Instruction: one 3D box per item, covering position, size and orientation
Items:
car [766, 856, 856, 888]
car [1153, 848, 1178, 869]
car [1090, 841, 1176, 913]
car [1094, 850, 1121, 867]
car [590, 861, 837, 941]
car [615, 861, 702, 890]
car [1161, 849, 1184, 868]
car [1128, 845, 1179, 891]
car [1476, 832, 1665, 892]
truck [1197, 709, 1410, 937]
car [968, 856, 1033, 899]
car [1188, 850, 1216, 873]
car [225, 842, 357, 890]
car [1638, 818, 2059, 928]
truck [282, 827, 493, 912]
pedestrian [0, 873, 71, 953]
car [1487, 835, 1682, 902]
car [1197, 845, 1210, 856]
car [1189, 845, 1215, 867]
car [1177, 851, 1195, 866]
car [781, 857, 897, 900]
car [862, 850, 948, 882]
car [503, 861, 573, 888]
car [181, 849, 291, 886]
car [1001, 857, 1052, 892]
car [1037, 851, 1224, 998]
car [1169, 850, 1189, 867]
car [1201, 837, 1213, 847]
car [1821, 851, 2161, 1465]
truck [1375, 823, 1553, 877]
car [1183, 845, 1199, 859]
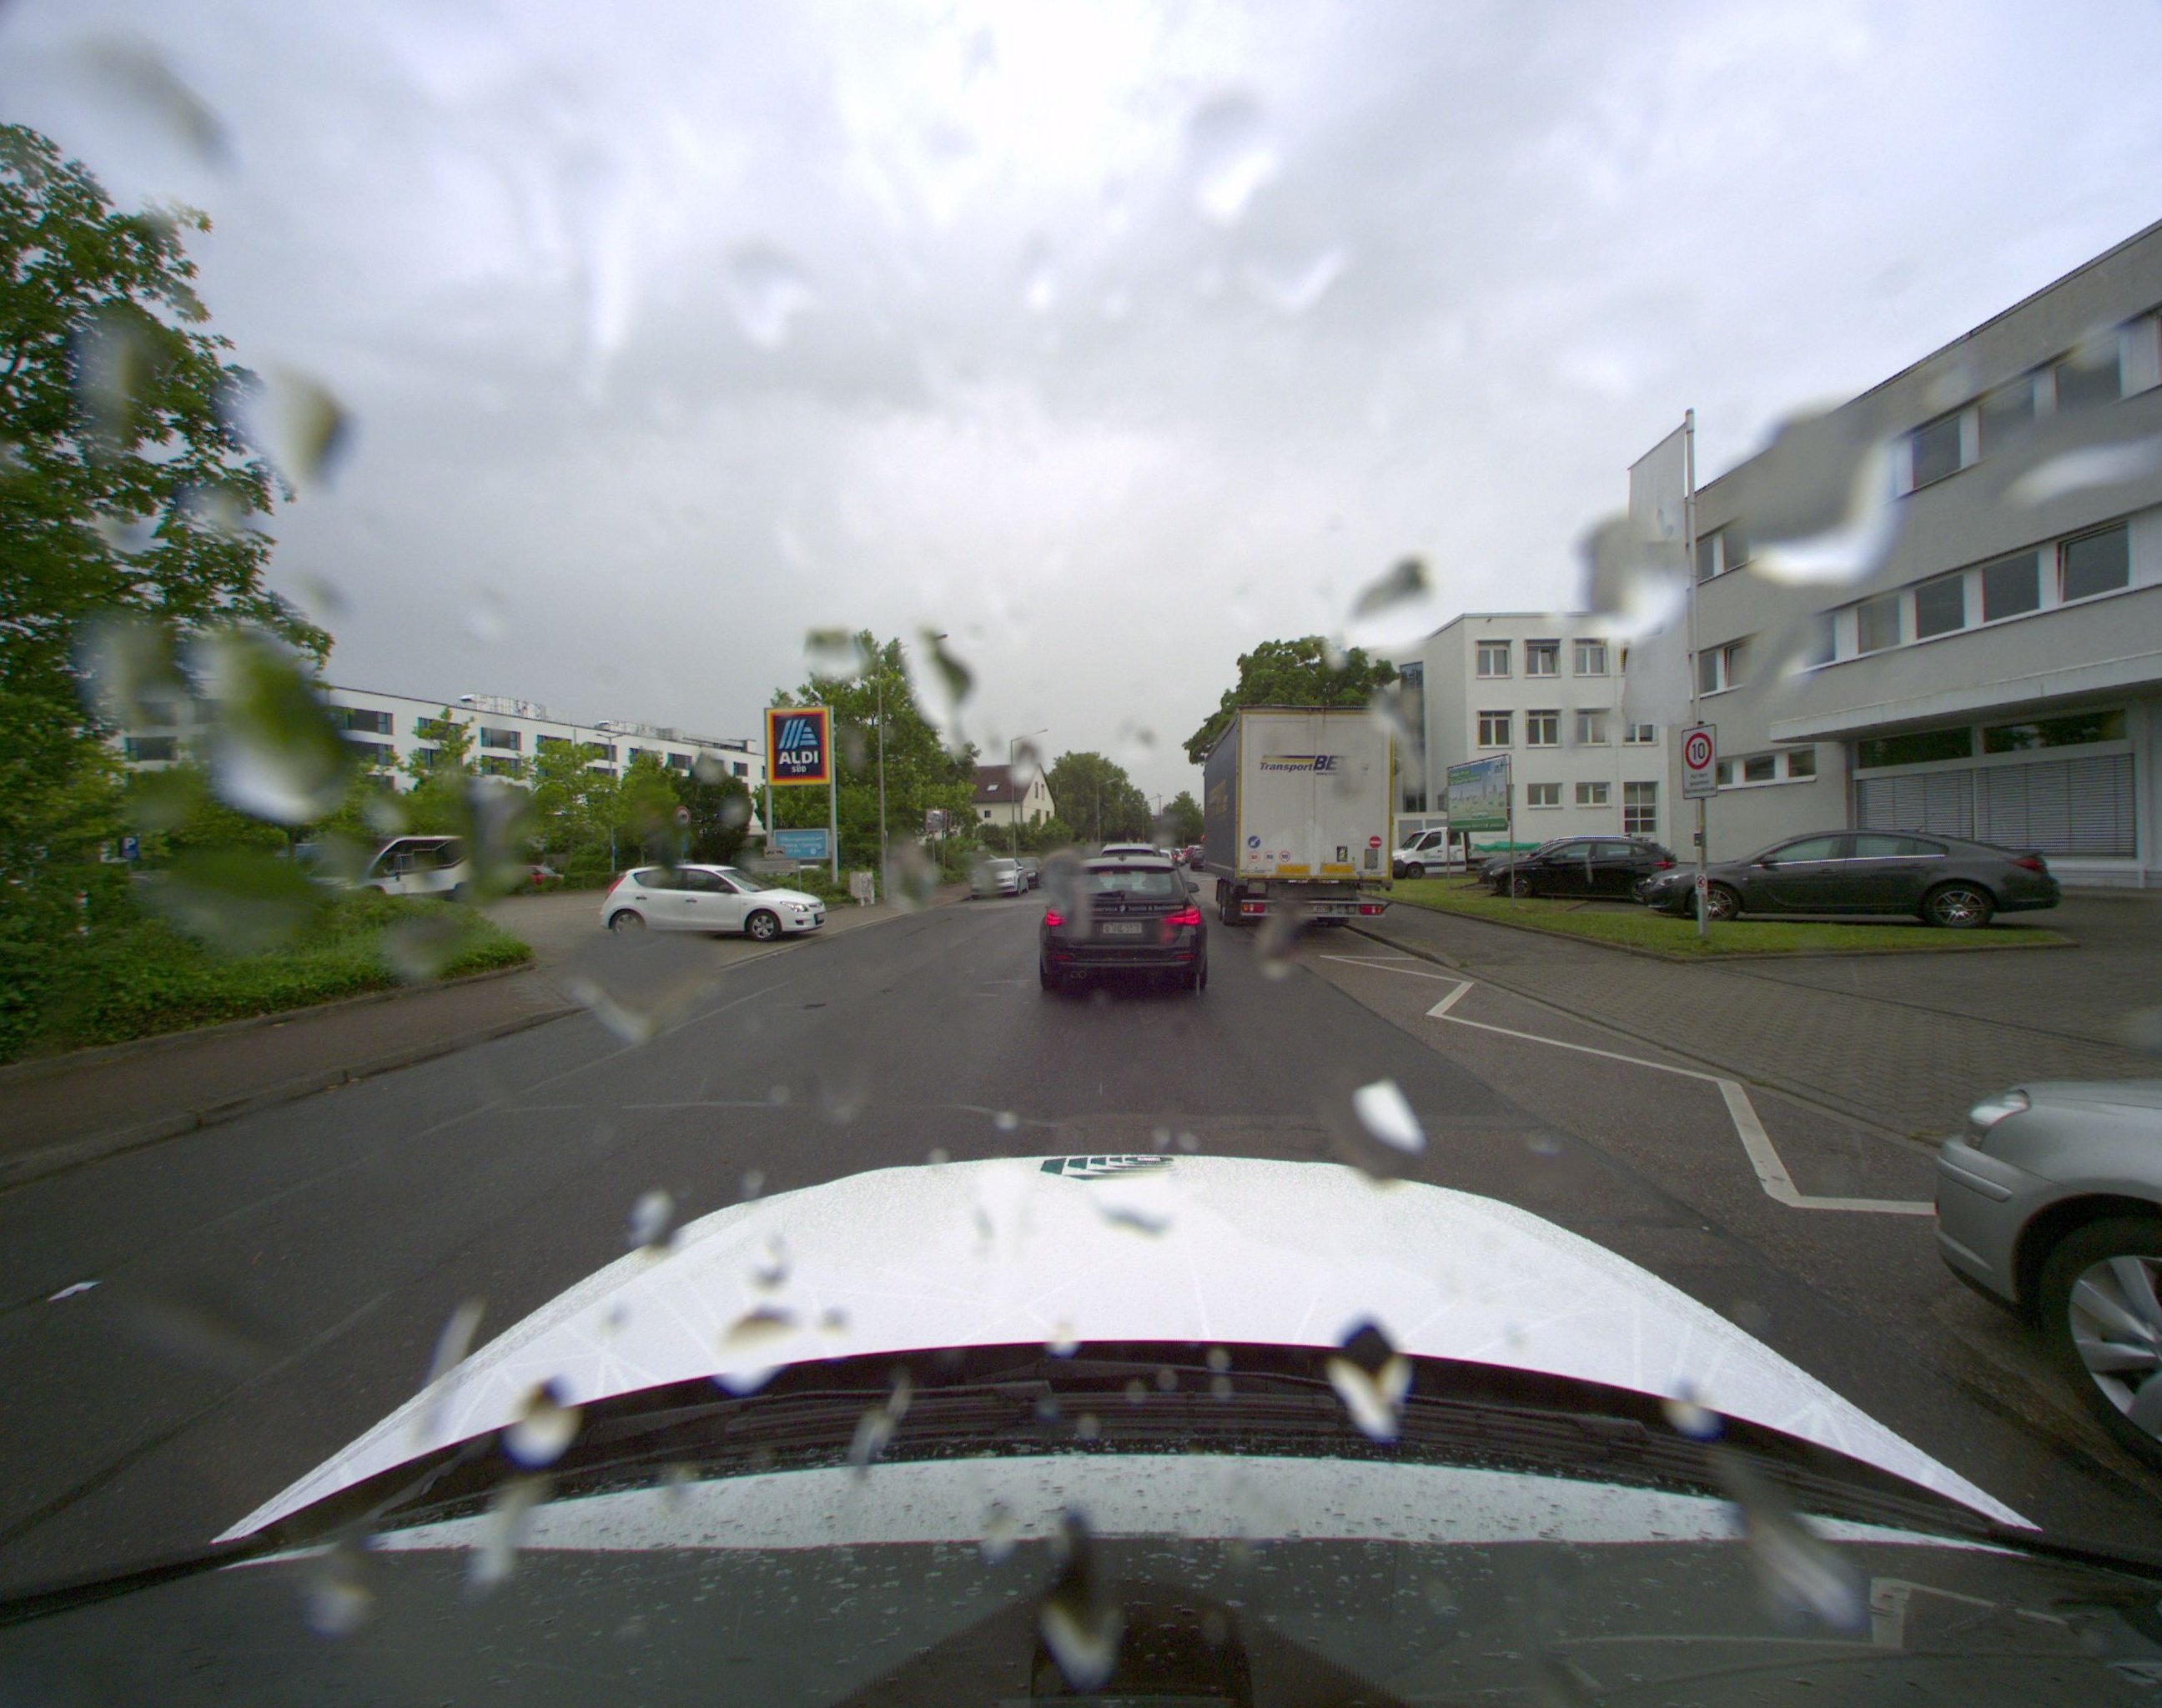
[{"bbox_3d":[-13.995,0.913,42.369,3.972,1.540,1.911,-1,0,1],"label":"car"},{"bbox_3d":[6.744,0.354,64.674,1.794,1.586,4.010,-1,0,9],"label":"car"},{"bbox_3d":[1.177,0.518,20.077,1.799,1.586,3.998,-1,0,-1],"label":"car"},{"bbox_3d":[2.393,0.410,73.627,1.694,1.367,3.851,-4,0,12],"label":"car"},{"bbox_3d":[-7.301,0.900,16.492,4.179,1.460,1.711,-1,0,-2],"label":"car"},{"bbox_3d":[-24.534,1.219,47.419,3.971,1.499,2.002,-2,0,2],"label":"car"},{"bbox_3d":[7.970,0.385,70.979,1.794,1.586,4.010,-1,0,9],"label":"car"},{"bbox_3d":[2.796,0.503,30.797,1.795,1.586,4.007,-1,0,7],"label":"car"},{"bbox_3d":[13.049,0.159,21.849,4.098,1.415,1.701,1,3,41],"label":"car"},{"bbox_3d":[4.102,-0.513,16.894,2.729,3.611,7.758,1,0,4],"label":"truck"},{"bbox_3d":[-2.999,0.840,31.156,1.698,1.367,4.605,-4,0,3],"label":"car"},{"bbox_3d":[8.391,0.509,56.900,1.795,1.586,4.007,-1,0,7],"label":"car"},{"bbox_3d":[-40.529,0.587,41.977,1.986,2.297,4.815,-2,0,2],"label":"car"},{"bbox_3d":[11.800,0.280,13.025,4.616,1.468,1.803,-1,0,39],"label":"car"},{"bbox_3d":[-24.513,0.492,29.257,1.987,2.657,6.397,-2,0,0],"label":"truck"},{"bbox_3d":[-22.395,1.240,17.336,0.774,1.634,0.769,-2,0,-3],"label":"pedestrian"},{"bbox_3d":[12.027,0.268,19.567,3.733,1.396,1.738,2,3,41],"label":"car"},{"bbox_3d":[17.427,-0.530,115.715,1.794,1.586,4.010,-1,0,9],"label":"car"},{"bbox_3d":[9.319,0.136,62.928,1.795,1.586,4.007,-1,0,7],"label":"car"},{"bbox_3d":[11.610,0.505,89.781,1.794,1.586,4.010,-1,0,9],"label":"car"},{"bbox_3d":[-8.499,0.837,28.796,3.555,1.460,1.713,0,0,2],"label":"car"},{"bbox_3d":[-9.070,0.587,42.168,3.972,1.540,1.911,-1,0,1],"label":"car"},{"bbox_3d":[-38.038,1.427,57.110,3.804,1.594,1.715,-4,0,8],"label":"car"},{"bbox_3d":[-48.075,0.752,46.456,1.986,2.014,4.001,-1,0,2],"label":"car"},{"bbox_3d":[-2.435,0.883,37.106,1.698,1.367,3.843,-4,0,4],"label":"car"},{"bbox_3d":[0.454,0.690,9.896,1.799,1.395,3.998,-1,0,-1],"label":"car"},{"bbox_3d":[9.714,0.433,80.558,1.794,1.586,4.010,-1,0,9],"label":"car"},{"bbox_3d":[19.852,-1.861,127.971,1.794,1.586,4.010,-1,0,9],"label":"car"},{"bbox_3d":[3.454,0.726,0.653,1.791,1.441,4.345,-2,0,1],"label":"car"},{"bbox_3d":[16.887,-0.185,36.162,6.896,2.140,2.096,-1,0,2],"label":"truck"},{"bbox_3d":[13.261,-0.299,97.904,1.794,1.586,4.010,-1,0,9],"label":"car"}]
